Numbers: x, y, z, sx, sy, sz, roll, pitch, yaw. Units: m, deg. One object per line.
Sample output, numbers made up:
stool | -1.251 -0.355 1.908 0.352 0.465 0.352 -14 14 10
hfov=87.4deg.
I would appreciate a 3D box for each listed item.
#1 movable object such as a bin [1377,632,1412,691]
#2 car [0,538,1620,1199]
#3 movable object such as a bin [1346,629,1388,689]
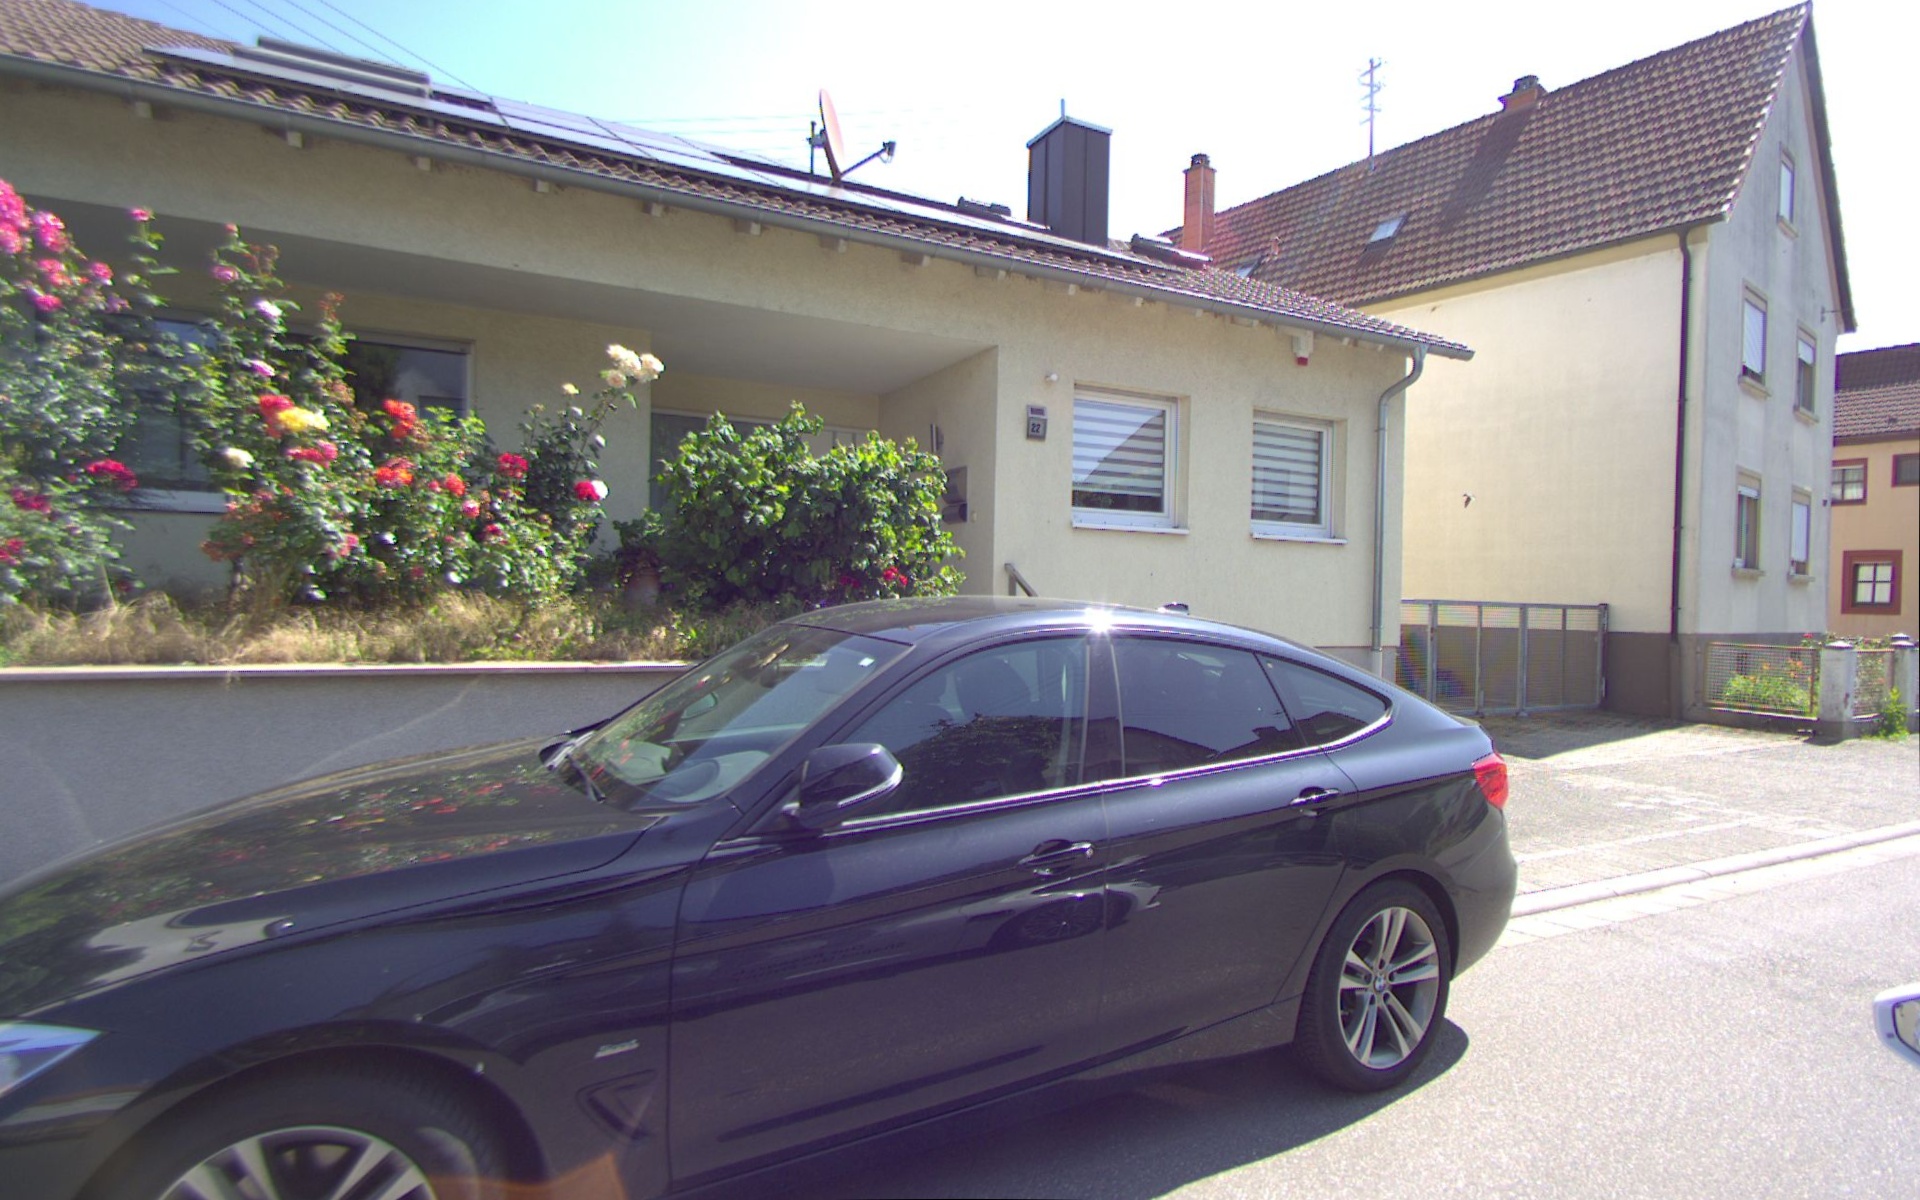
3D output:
movable object such as a bin | 7.086 0.989 16.376 0.369 0.928 0.348 1 2 -34
car | -0.131 0.708 3.279 4.707 1.547 1.836 1 0 -29
movable object such as a bin | 6.774 0.973 16.736 0.433 0.965 0.465 1 2 -37
